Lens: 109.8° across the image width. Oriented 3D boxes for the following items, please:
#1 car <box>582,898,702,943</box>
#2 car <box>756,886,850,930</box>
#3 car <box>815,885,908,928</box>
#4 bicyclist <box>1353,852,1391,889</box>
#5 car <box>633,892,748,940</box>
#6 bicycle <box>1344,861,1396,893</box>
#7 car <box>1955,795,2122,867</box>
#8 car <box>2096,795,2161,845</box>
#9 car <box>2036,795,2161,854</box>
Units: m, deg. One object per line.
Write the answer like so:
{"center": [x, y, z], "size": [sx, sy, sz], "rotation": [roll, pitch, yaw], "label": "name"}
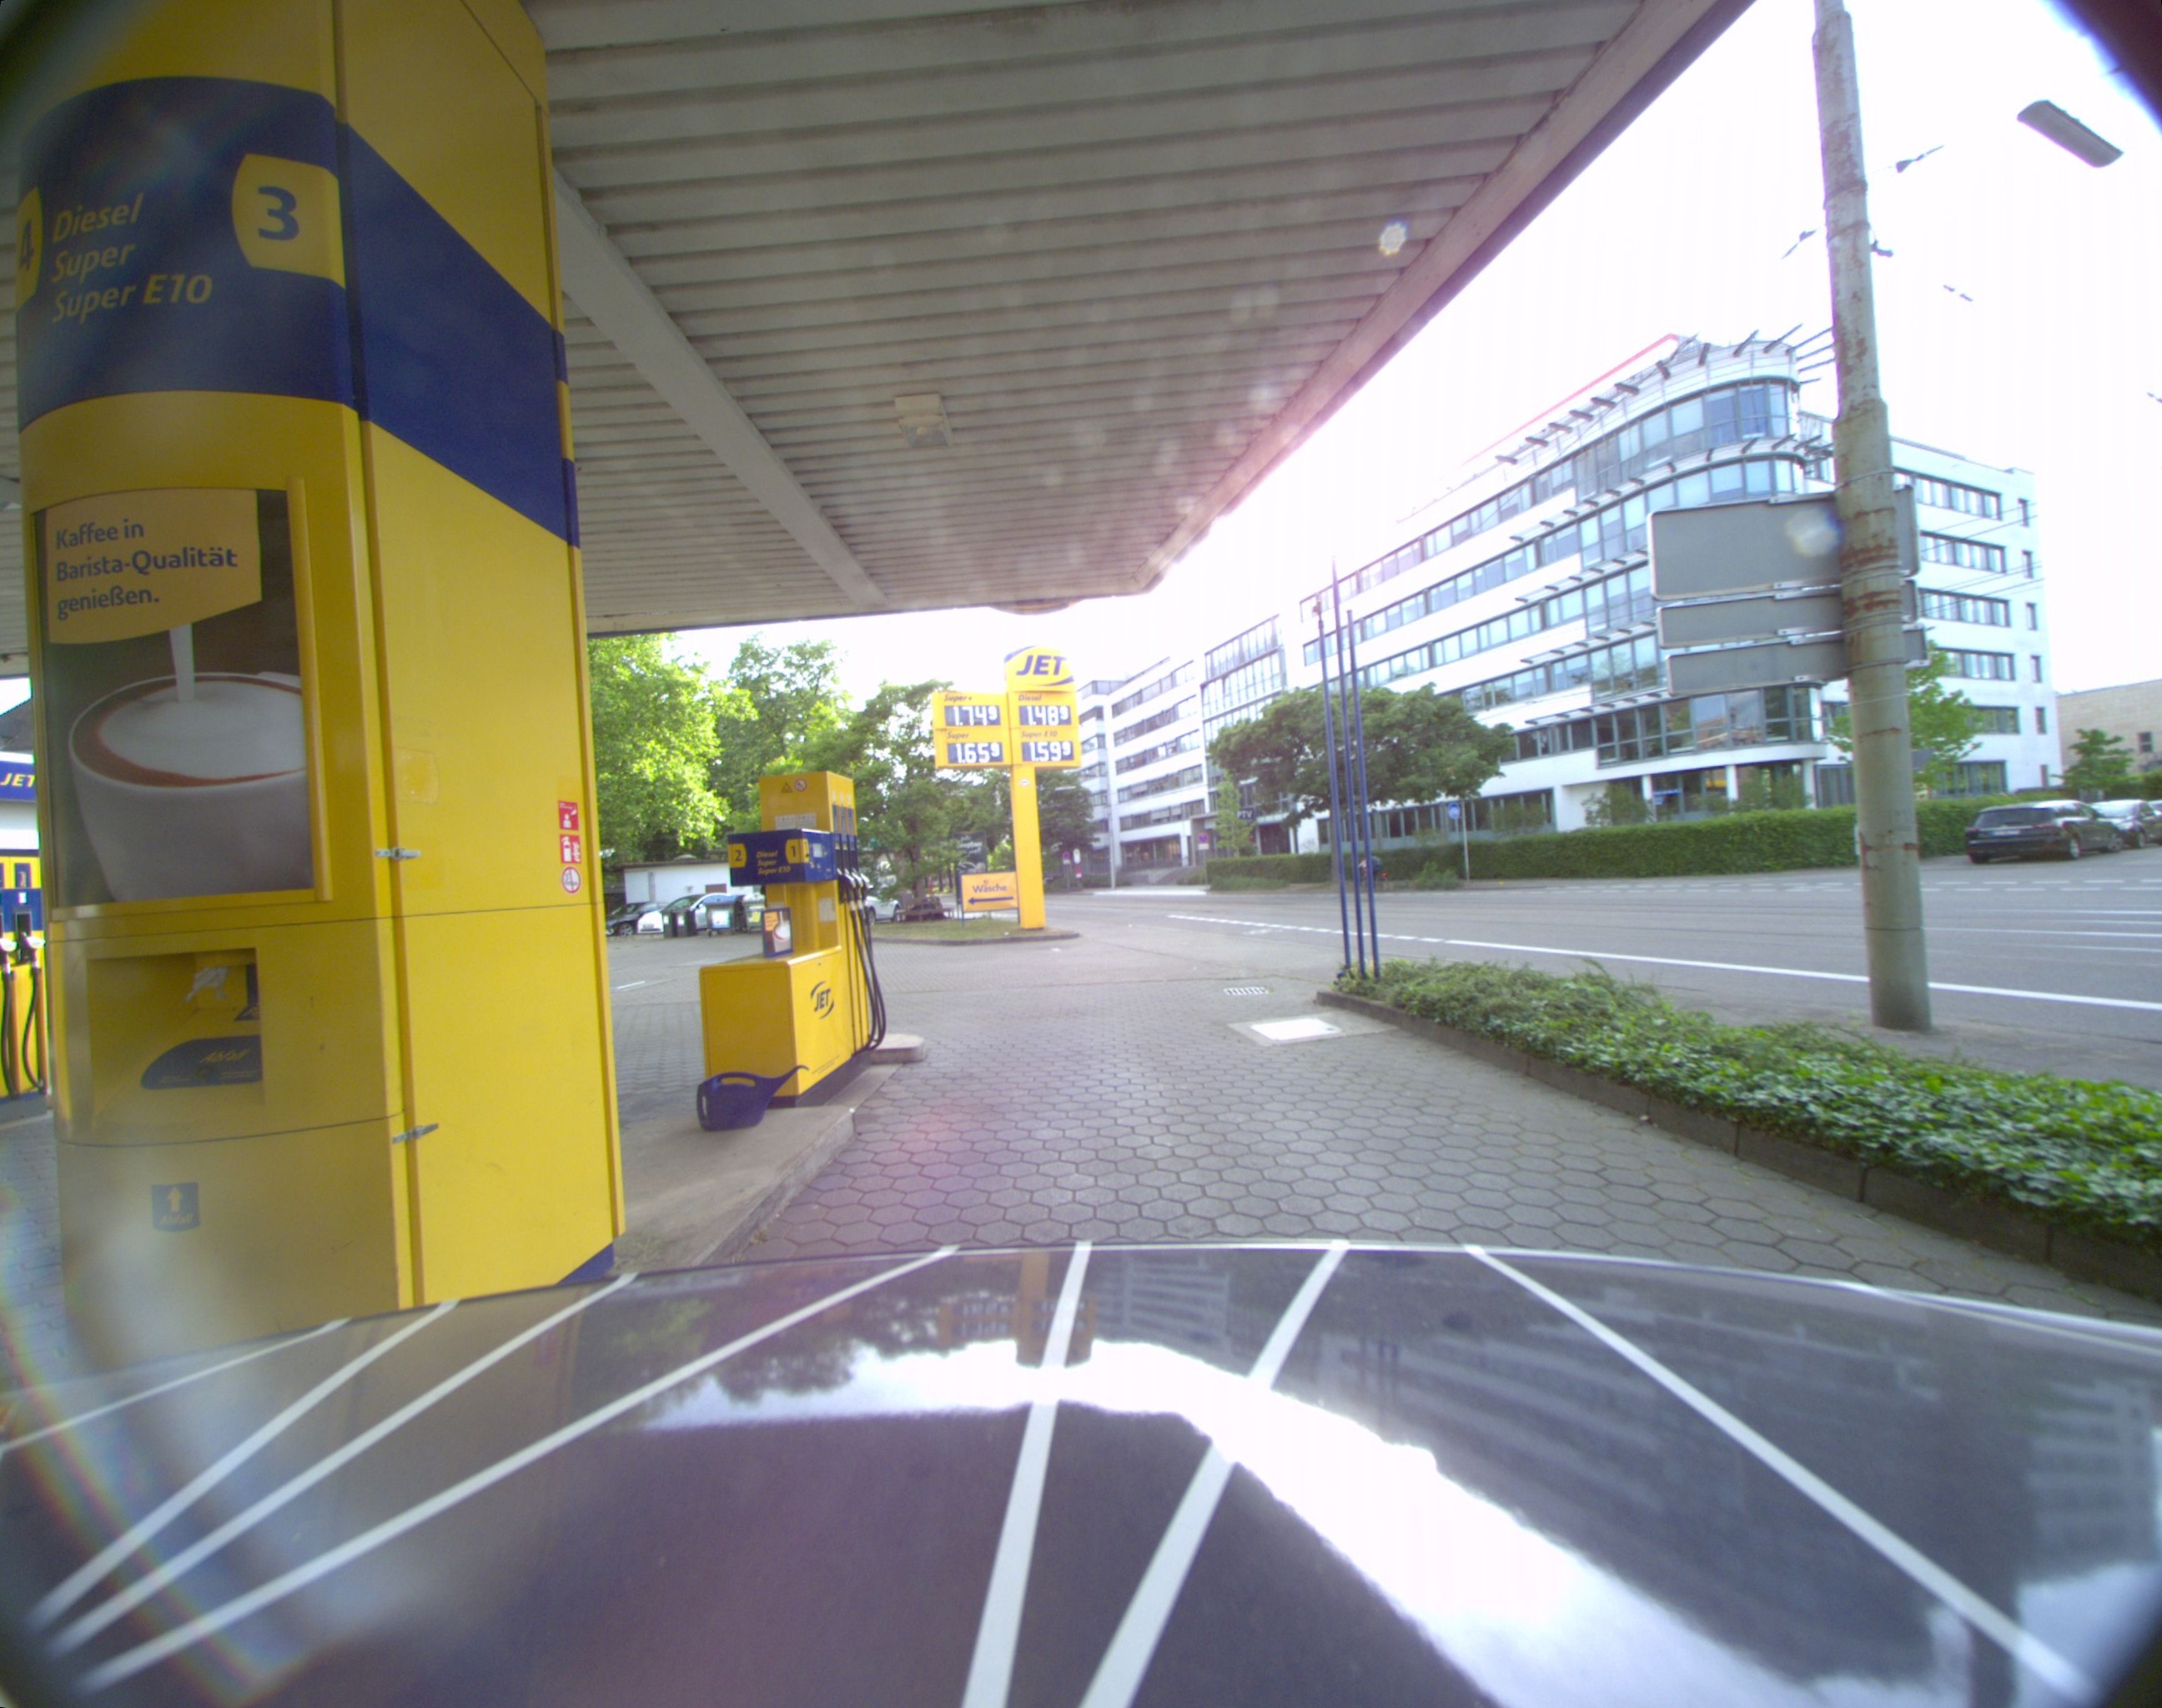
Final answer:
{"center": [-17.540, 2.620, 30.601], "size": [1.823, 1.426, 4.200], "rotation": [-4, -2, 10], "label": "car"}
{"center": [-11.752, 2.255, 32.458], "size": [1.823, 1.575, 4.200], "rotation": [-4, -2, 10], "label": "car"}
{"center": [-8.662, 2.039, 30.370], "size": [1.823, 1.449, 4.200], "rotation": [-4, -2, 10], "label": "car"}
{"center": [11.862, 0.651, 30.972], "size": [0.792, 1.443, 1.173], "rotation": [-3, 1, -29], "label": "bicyclist"}
{"center": [-15.396, 2.402, 30.246], "size": [1.823, 1.575, 4.200], "rotation": [-4, -2, 10], "label": "car"}
{"center": [11.804, 0.928, 31.131], "size": [0.792, 1.232, 1.878], "rotation": [-3, 1, -29], "label": "bicycle"}
{"center": [27.412, -0.663, 21.747], "size": [4.397, 1.678, 1.820], "rotation": [-4, -1, -24], "label": "car"}
{"center": [37.100, -1.244, 26.004], "size": [4.201, 1.568, 1.820], "rotation": [-4, -1, -24], "label": "car"}
{"center": [32.571, -0.951, 24.057], "size": [4.201, 1.568, 1.820], "rotation": [-4, -1, -24], "label": "car"}
